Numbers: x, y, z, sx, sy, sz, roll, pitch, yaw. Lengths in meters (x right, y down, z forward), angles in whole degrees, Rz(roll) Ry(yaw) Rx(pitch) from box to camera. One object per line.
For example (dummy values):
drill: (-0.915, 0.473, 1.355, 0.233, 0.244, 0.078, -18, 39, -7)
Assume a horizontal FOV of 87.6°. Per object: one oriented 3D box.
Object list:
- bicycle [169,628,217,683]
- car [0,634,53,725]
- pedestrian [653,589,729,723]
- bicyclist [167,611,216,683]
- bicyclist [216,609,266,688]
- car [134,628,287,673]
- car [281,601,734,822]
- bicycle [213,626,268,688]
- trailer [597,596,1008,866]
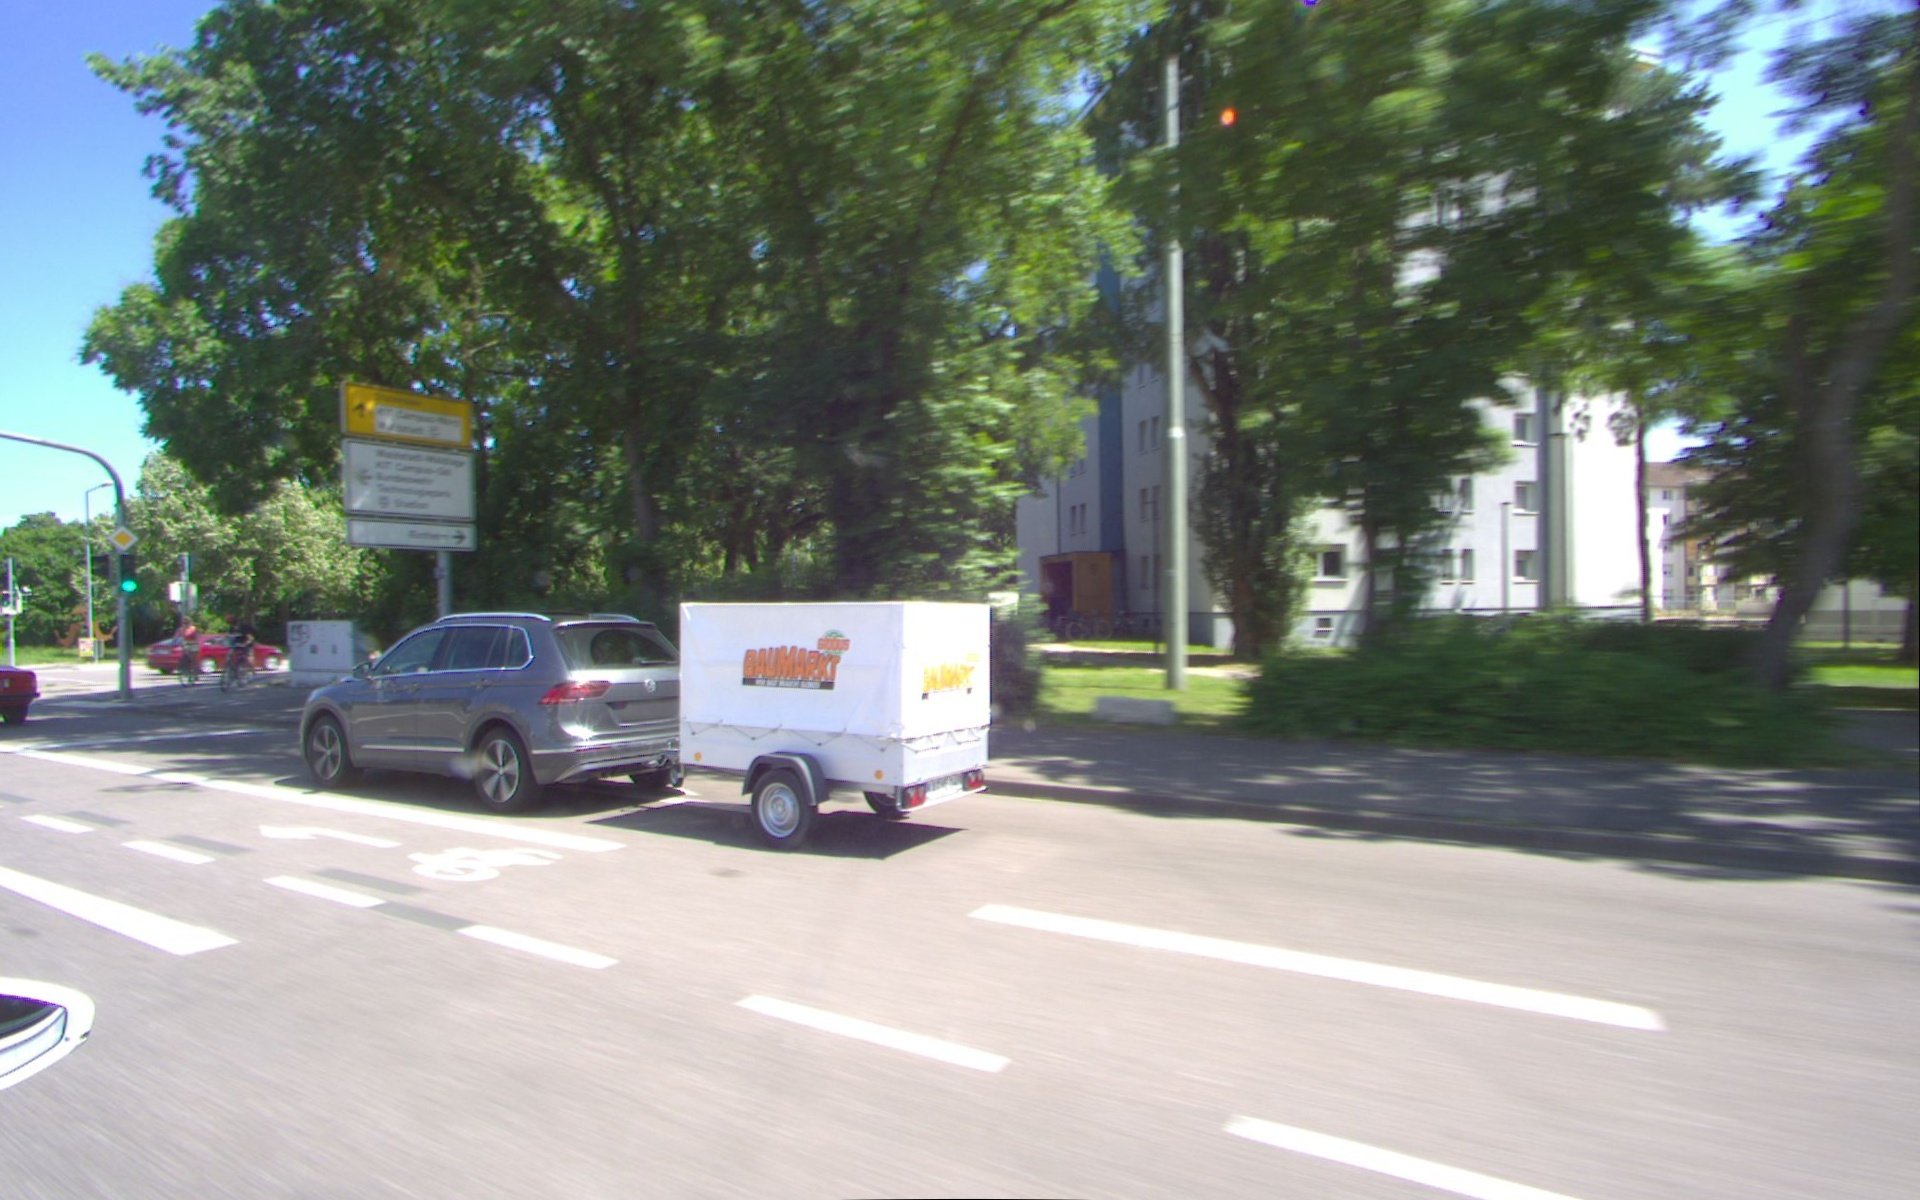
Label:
bicycle: (-19.329, 1.379, 25.234, 1.608, 1.322, 0.641, -1, 2, 43)
car: (-16.850, 1.264, 16.477, 4.203, 1.414, 1.653, -1, -2, 30)
pedestrian: (-3.820, 0.772, 14.265, 0.683, 1.840, 0.752, 0, 1, 30)
bicyclist: (-19.422, 1.165, 25.297, 0.671, 1.750, 0.797, -1, 2, 42)
bicyclist: (-16.339, 1.087, 22.773, 0.715, 1.726, 0.676, -3, 2, -26)
car: (-28.024, 1.853, 37.660, 1.962, 1.523, 4.501, 0, -1, 9)
car: (-4.343, 0.907, 9.436, 4.333, 1.675, 1.698, -1, -2, 30)
bicycle: (-16.349, 1.271, 22.779, 0.715, 1.313, 1.299, -3, 1, -25)
trailer: (-1.211, 0.865, 7.627, 2.813, 1.690, 1.467, -1, -2, 30)
